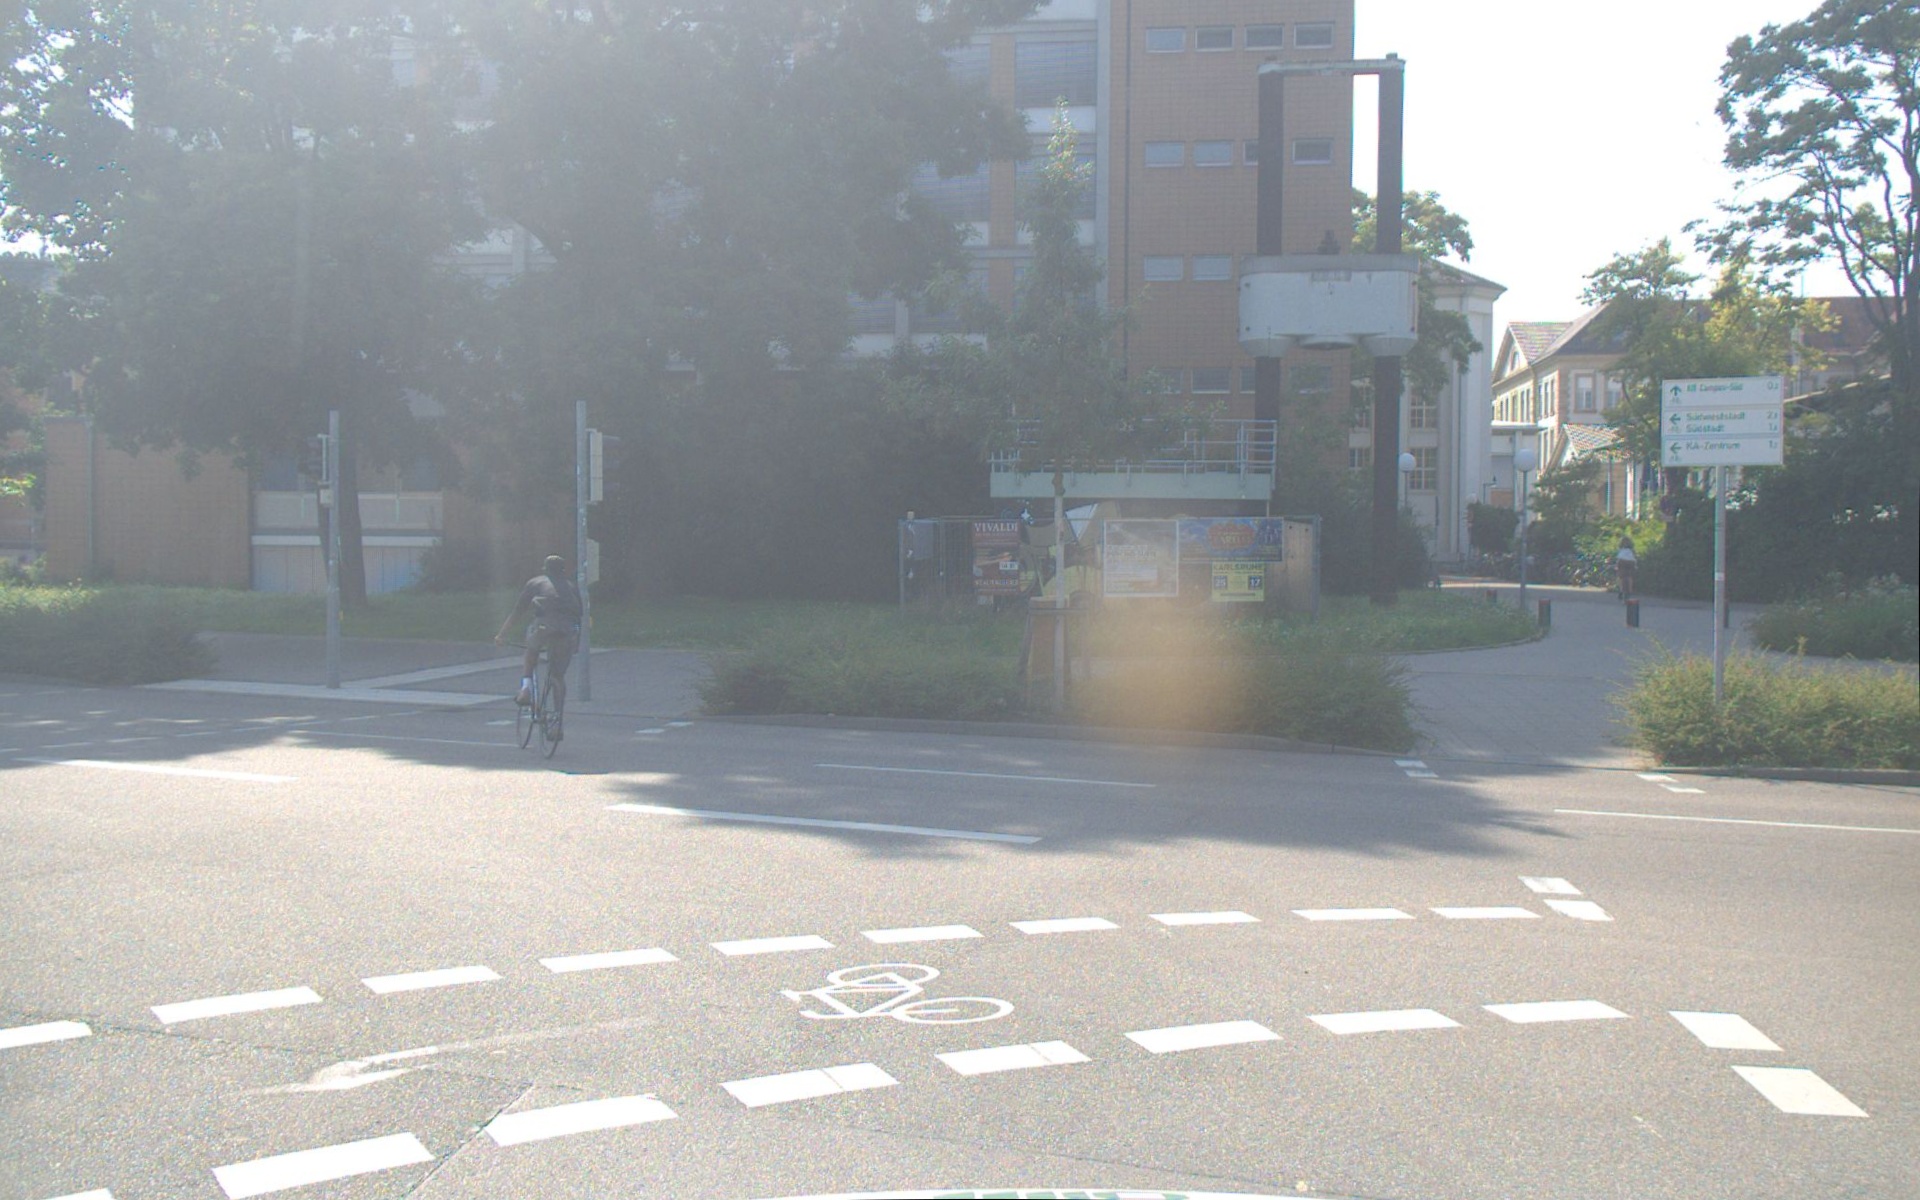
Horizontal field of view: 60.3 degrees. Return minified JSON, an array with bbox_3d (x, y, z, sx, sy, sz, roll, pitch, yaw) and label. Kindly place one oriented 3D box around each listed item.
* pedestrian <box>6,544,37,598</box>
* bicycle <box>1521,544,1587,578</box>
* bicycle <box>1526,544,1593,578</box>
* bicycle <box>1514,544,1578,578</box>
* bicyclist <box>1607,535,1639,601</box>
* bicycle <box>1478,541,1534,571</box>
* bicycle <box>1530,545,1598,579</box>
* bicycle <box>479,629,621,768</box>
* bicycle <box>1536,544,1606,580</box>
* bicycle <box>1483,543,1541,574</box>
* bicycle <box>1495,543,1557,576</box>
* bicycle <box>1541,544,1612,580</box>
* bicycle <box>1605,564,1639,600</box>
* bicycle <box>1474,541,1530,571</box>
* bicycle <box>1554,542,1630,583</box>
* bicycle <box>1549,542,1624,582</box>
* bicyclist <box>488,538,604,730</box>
[{"bbox_3d":[-28.815,-0.891,50.777,0.521,1.657,0.616,1,2,26],"label":"pedestrian"},{"bbox_3d":[24.022,-1.580,66.939,2.375,1.250,0.721,3,2,13],"label":"bicycle"},{"bbox_3d":[23.903,-1.550,65.966,2.375,1.261,0.721,3,2,13],"label":"bicycle"},{"bbox_3d":[24.274,-1.632,68.578,2.375,1.304,0.721,3,2,13],"label":"bicycle"},{"bbox_3d":[16.810,-0.820,41.944,0.636,1.629,0.920,1,2,17],"label":"bicyclist"},{"bbox_3d":[25.277,-2.029,76.614,2.375,1.284,0.721,3,2,13],"label":"bicycle"},{"bbox_3d":[23.752,-1.492,65.046,2.375,1.255,0.721,3,2,13],"label":"bicycle"},{"bbox_3d":[-3.658,0.825,14.621,0.763,0.992,2.132,-2,3,-27],"label":"bicycle"},{"bbox_3d":[23.338,-1.461,63.230,2.375,1.244,0.721,3,2,13],"label":"bicycle"},{"bbox_3d":[24.830,-1.875,74.423,2.375,1.304,0.721,3,2,13],"label":"bicycle"},{"bbox_3d":[23.880,-1.722,69.795,2.375,1.304,0.721,3,2,13],"label":"bicycle"},{"bbox_3d":[23.085,-1.414,61.980,2.375,1.244,0.721,3,2,13],"label":"bicycle"},{"bbox_3d":[16.788,-0.464,41.947,0.659,0.895,1.402,1,2,16],"label":"bicycle"},{"bbox_3d":[25.385,-2.088,77.537,2.375,1.302,0.721,3,2,13],"label":"bicycle"},{"bbox_3d":[22.289,-1.315,58.385,2.375,1.341,0.721,3,2,13],"label":"bicycle"},{"bbox_3d":[22.519,-1.377,59.498,2.375,1.341,0.721,3,2,13],"label":"bicycle"},{"bbox_3d":[-3.644,0.263,14.532,0.763,1.606,0.982,-2,3,-27],"label":"bicyclist"}]
